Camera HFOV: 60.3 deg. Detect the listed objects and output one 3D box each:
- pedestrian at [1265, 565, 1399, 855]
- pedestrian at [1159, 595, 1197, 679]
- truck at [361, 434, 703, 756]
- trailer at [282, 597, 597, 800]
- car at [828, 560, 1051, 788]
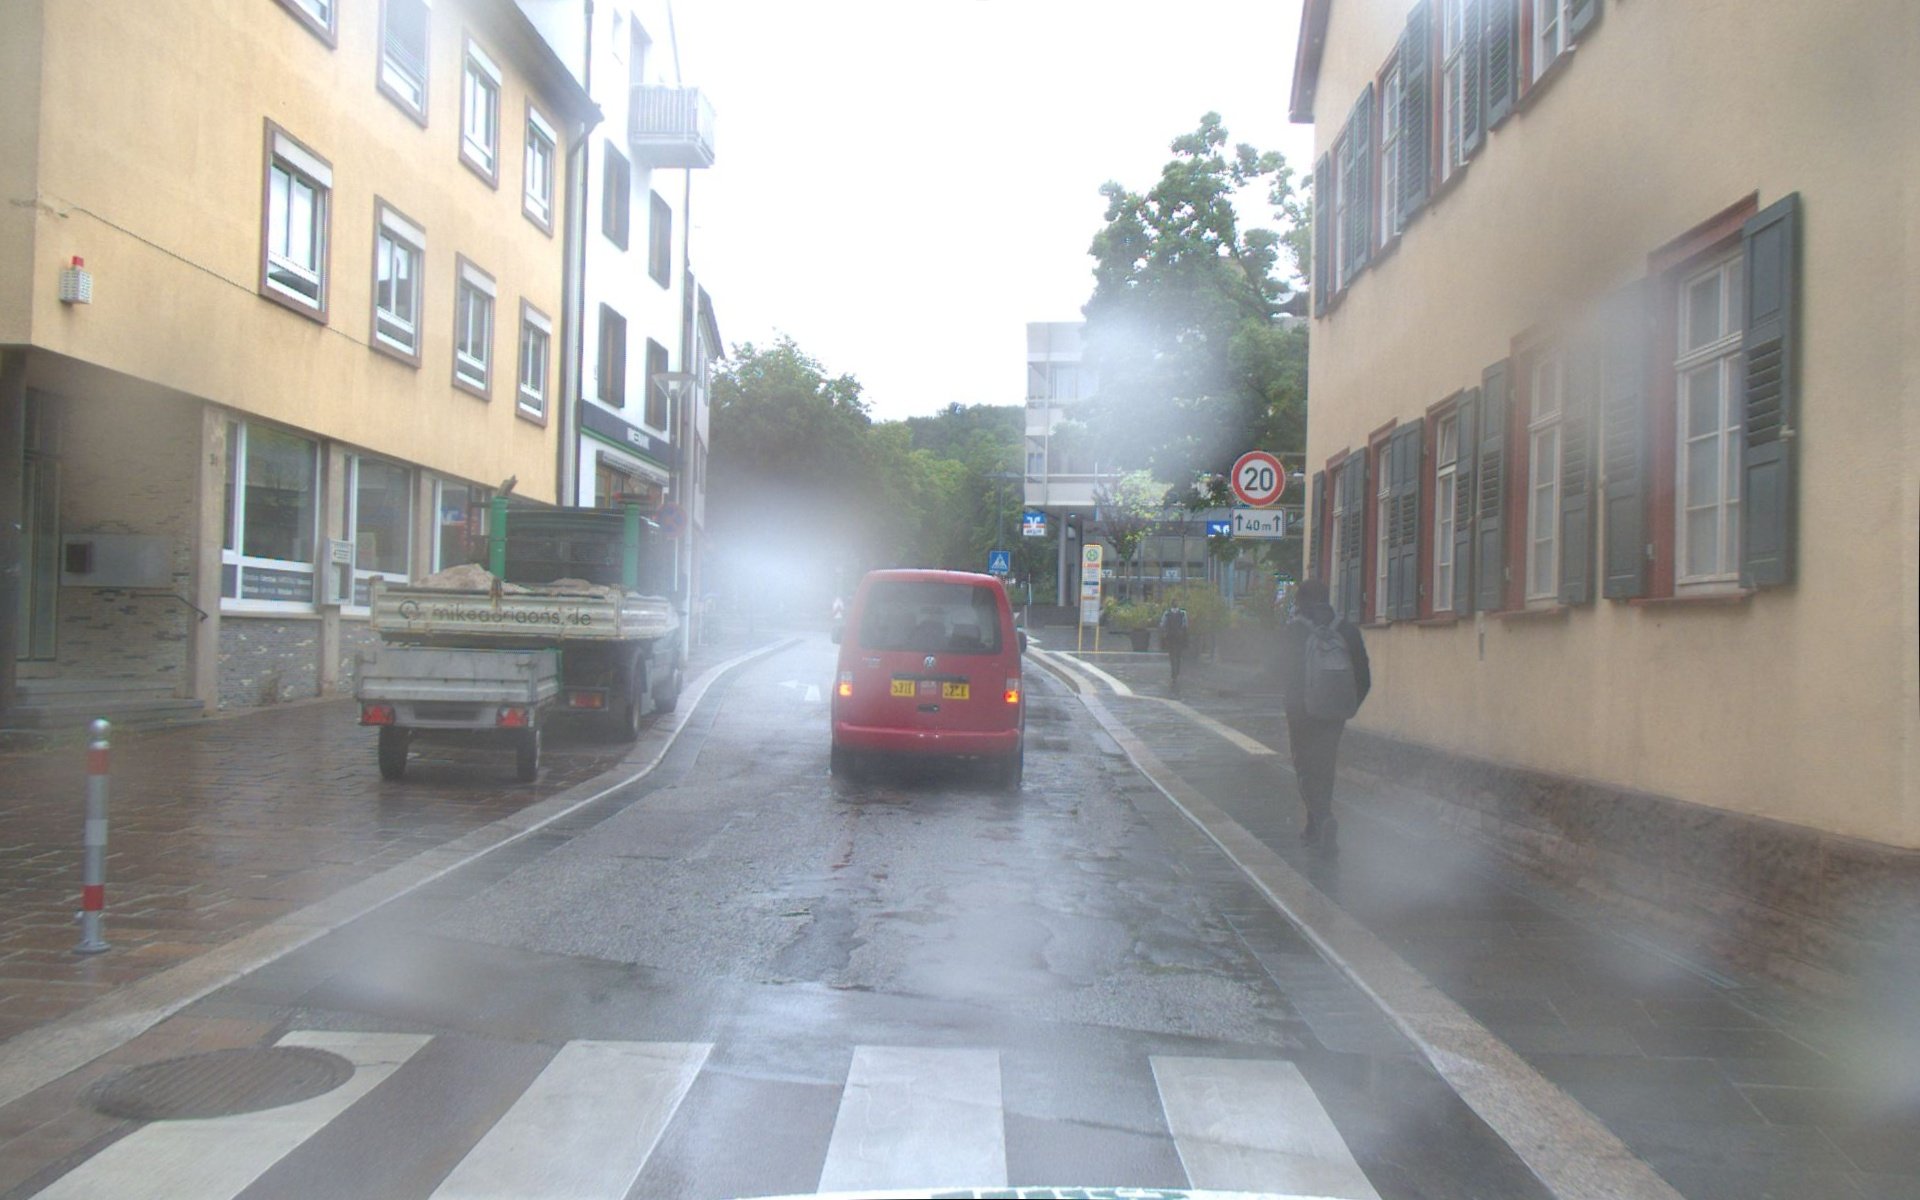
[{"bbox_3d":[2.306,0.652,10.340,0.699,1.722,0.868,1,0,6],"label":"pedestrian"},{"bbox_3d":[4.326,0.734,32.838,0.713,1.645,0.694,0,-1,3],"label":"pedestrian"},{"bbox_3d":[-4.303,-0.091,17.979,2.425,2.844,6.594,0,1,-4],"label":"truck"},{"bbox_3d":[-3.976,0.684,13.139,1.694,1.370,3.158,0,1,-4],"label":"trailer"},{"bbox_3d":[-0.265,0.626,15.814,1.825,1.862,4.182,1,0,-3],"label":"car"}]
